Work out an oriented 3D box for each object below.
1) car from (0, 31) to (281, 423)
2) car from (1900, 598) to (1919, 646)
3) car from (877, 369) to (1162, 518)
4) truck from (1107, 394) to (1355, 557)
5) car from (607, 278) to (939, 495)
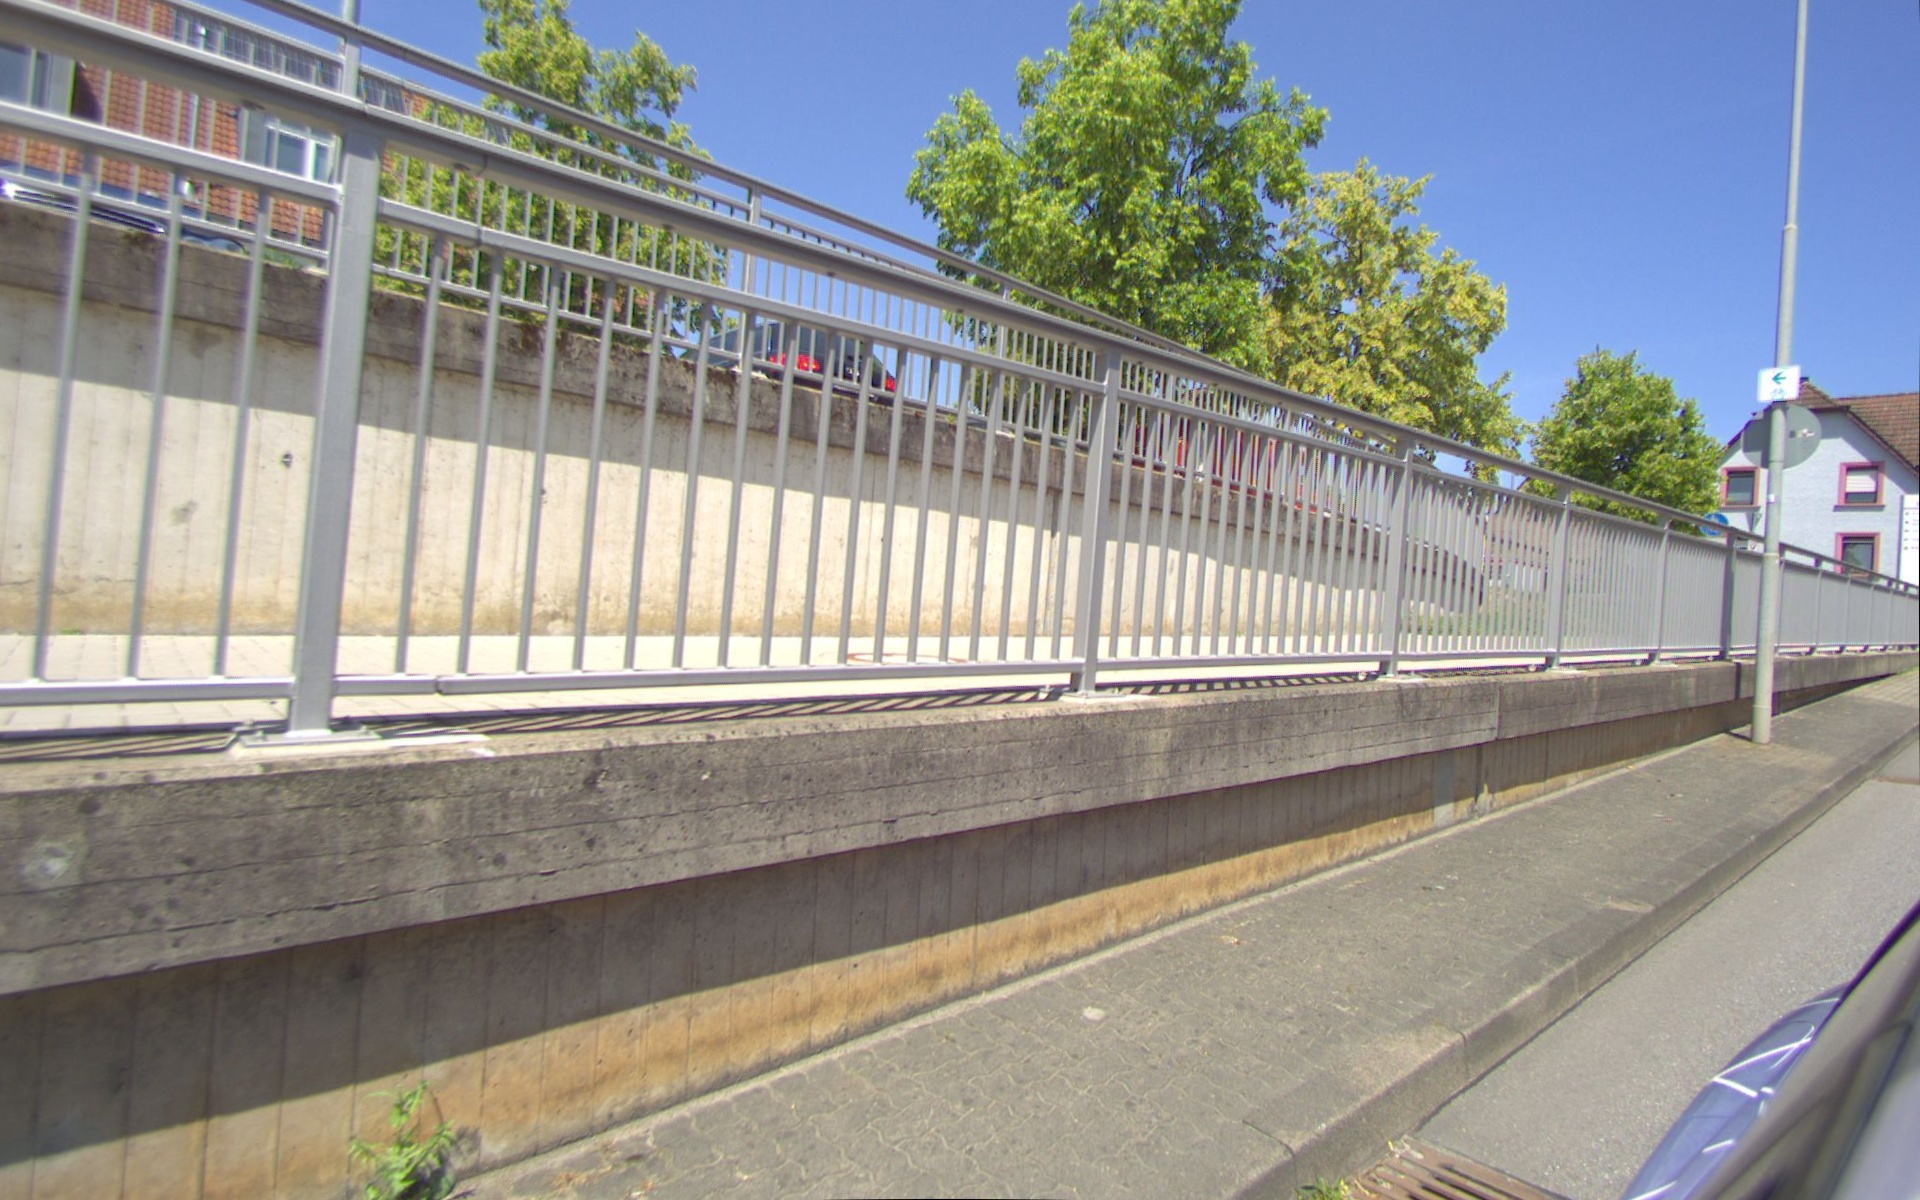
[{"bbox_3d":[-6.363,-2.433,7.522,1.717,1.517,4.296,4,-1,-39],"label":"car"},{"bbox_3d":[31.986,0.822,31.695,3.672,1.497,1.747,5,2,44],"label":"car"},{"bbox_3d":[0.704,-2.061,14.333,1.717,1.517,3.996,4,-1,-39],"label":"car"},{"bbox_3d":[5.412,-2.226,19.789,5.167,2.364,2.136,4,-1,-42],"label":"truck"},{"bbox_3d":[-2.212,-2.092,11.009,1.655,1.517,4.215,4,-1,-39],"label":"car"}]
